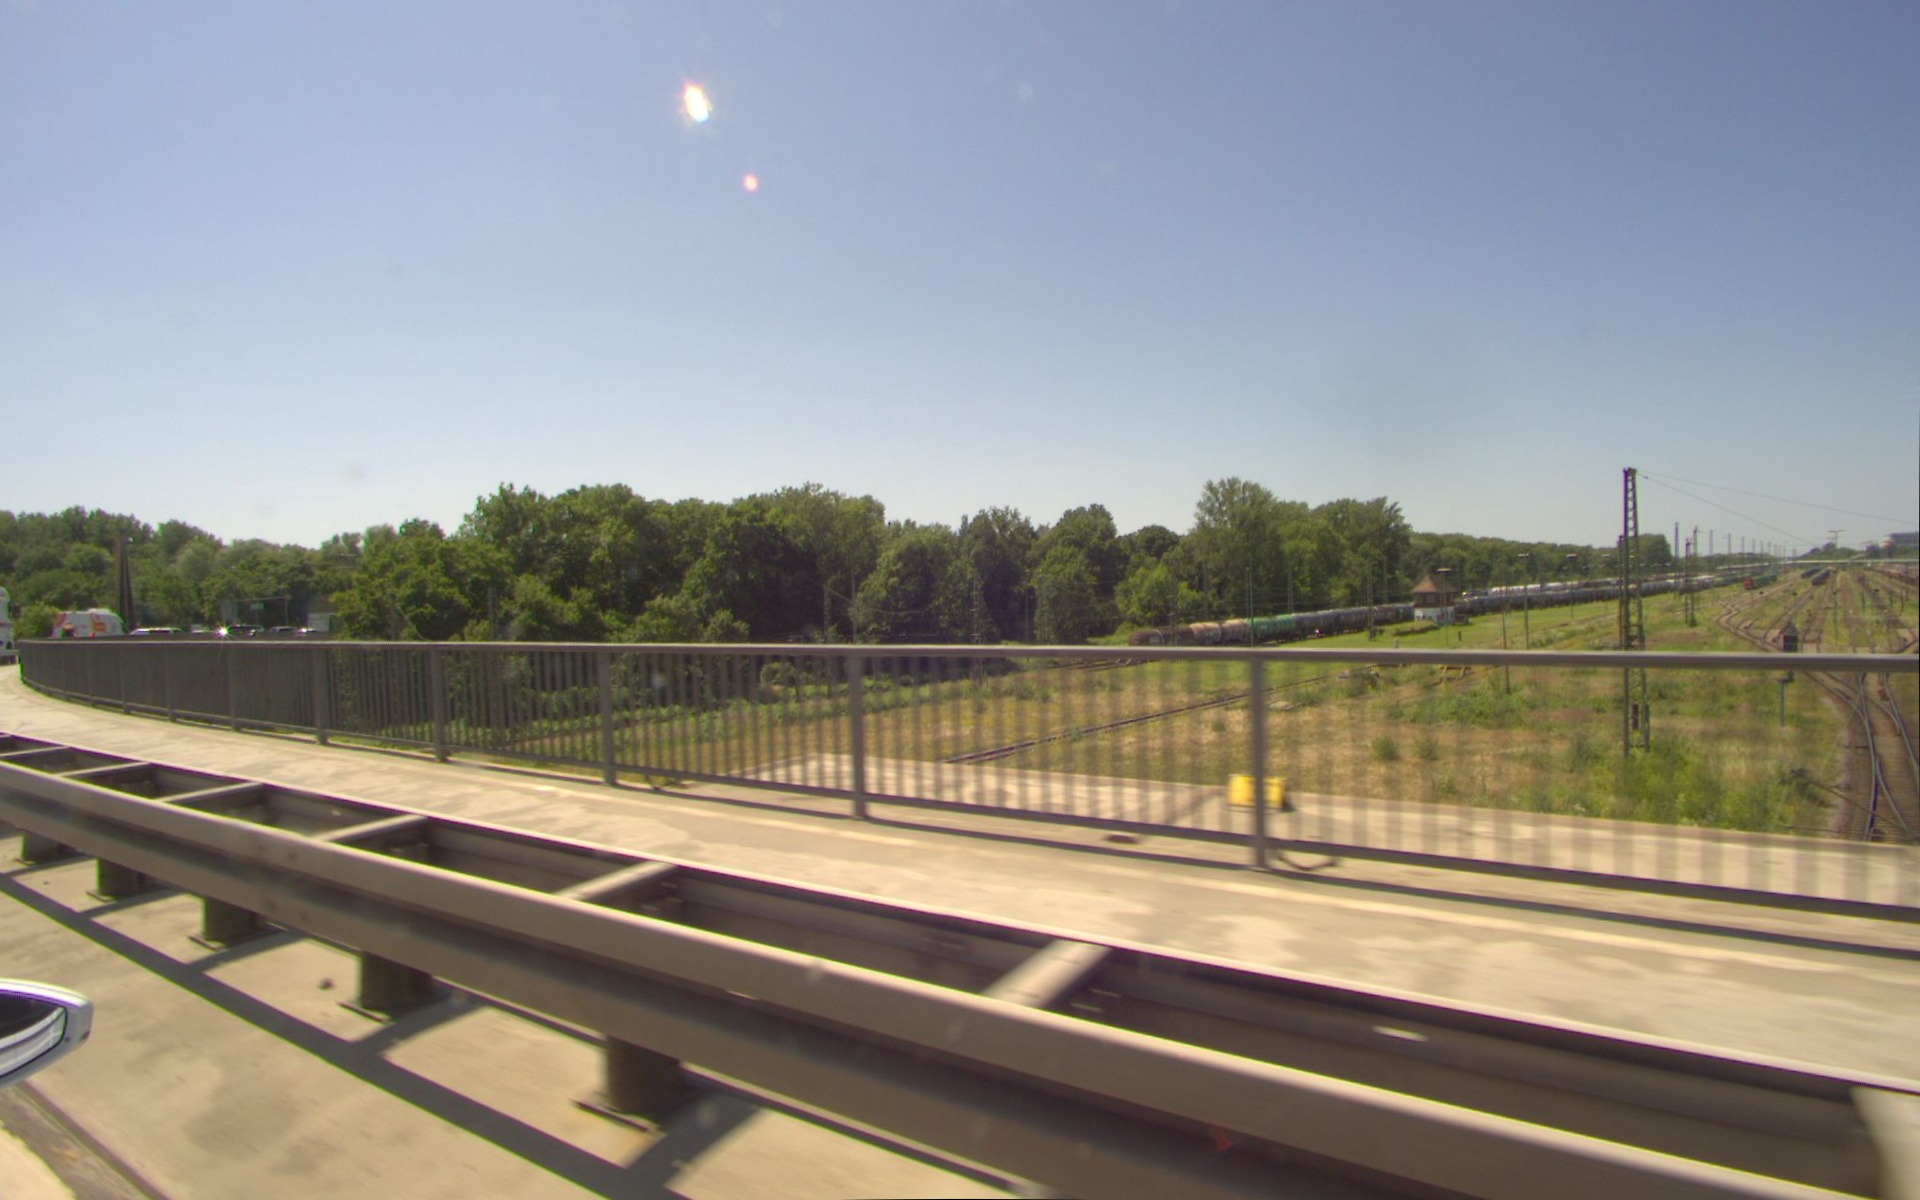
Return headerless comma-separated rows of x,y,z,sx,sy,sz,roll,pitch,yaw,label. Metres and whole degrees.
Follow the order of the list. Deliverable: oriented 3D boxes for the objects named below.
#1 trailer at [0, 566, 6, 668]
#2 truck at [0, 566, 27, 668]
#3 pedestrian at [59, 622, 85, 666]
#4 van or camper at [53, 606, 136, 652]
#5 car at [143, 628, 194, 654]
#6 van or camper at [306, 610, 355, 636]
-42.265,0.536,40.424,3.103,4.672,12.872,1,-2,-33,trailer
-45.664,0.799,45.779,3.138,4.643,7.354,0,-2,-33,truck
-40.488,2.000,45.646,0.729,1.992,0.731,0,-1,-30,pedestrian
-53.581,1.773,62.126,2.174,2.746,5.907,0,-1,-23,van or camper
-57.545,2.979,72.865,1.864,1.873,3.989,0,-2,-23,car
-69.675,2.568,110.959,2.445,2.318,4.966,4,-6,-6,van or camper
